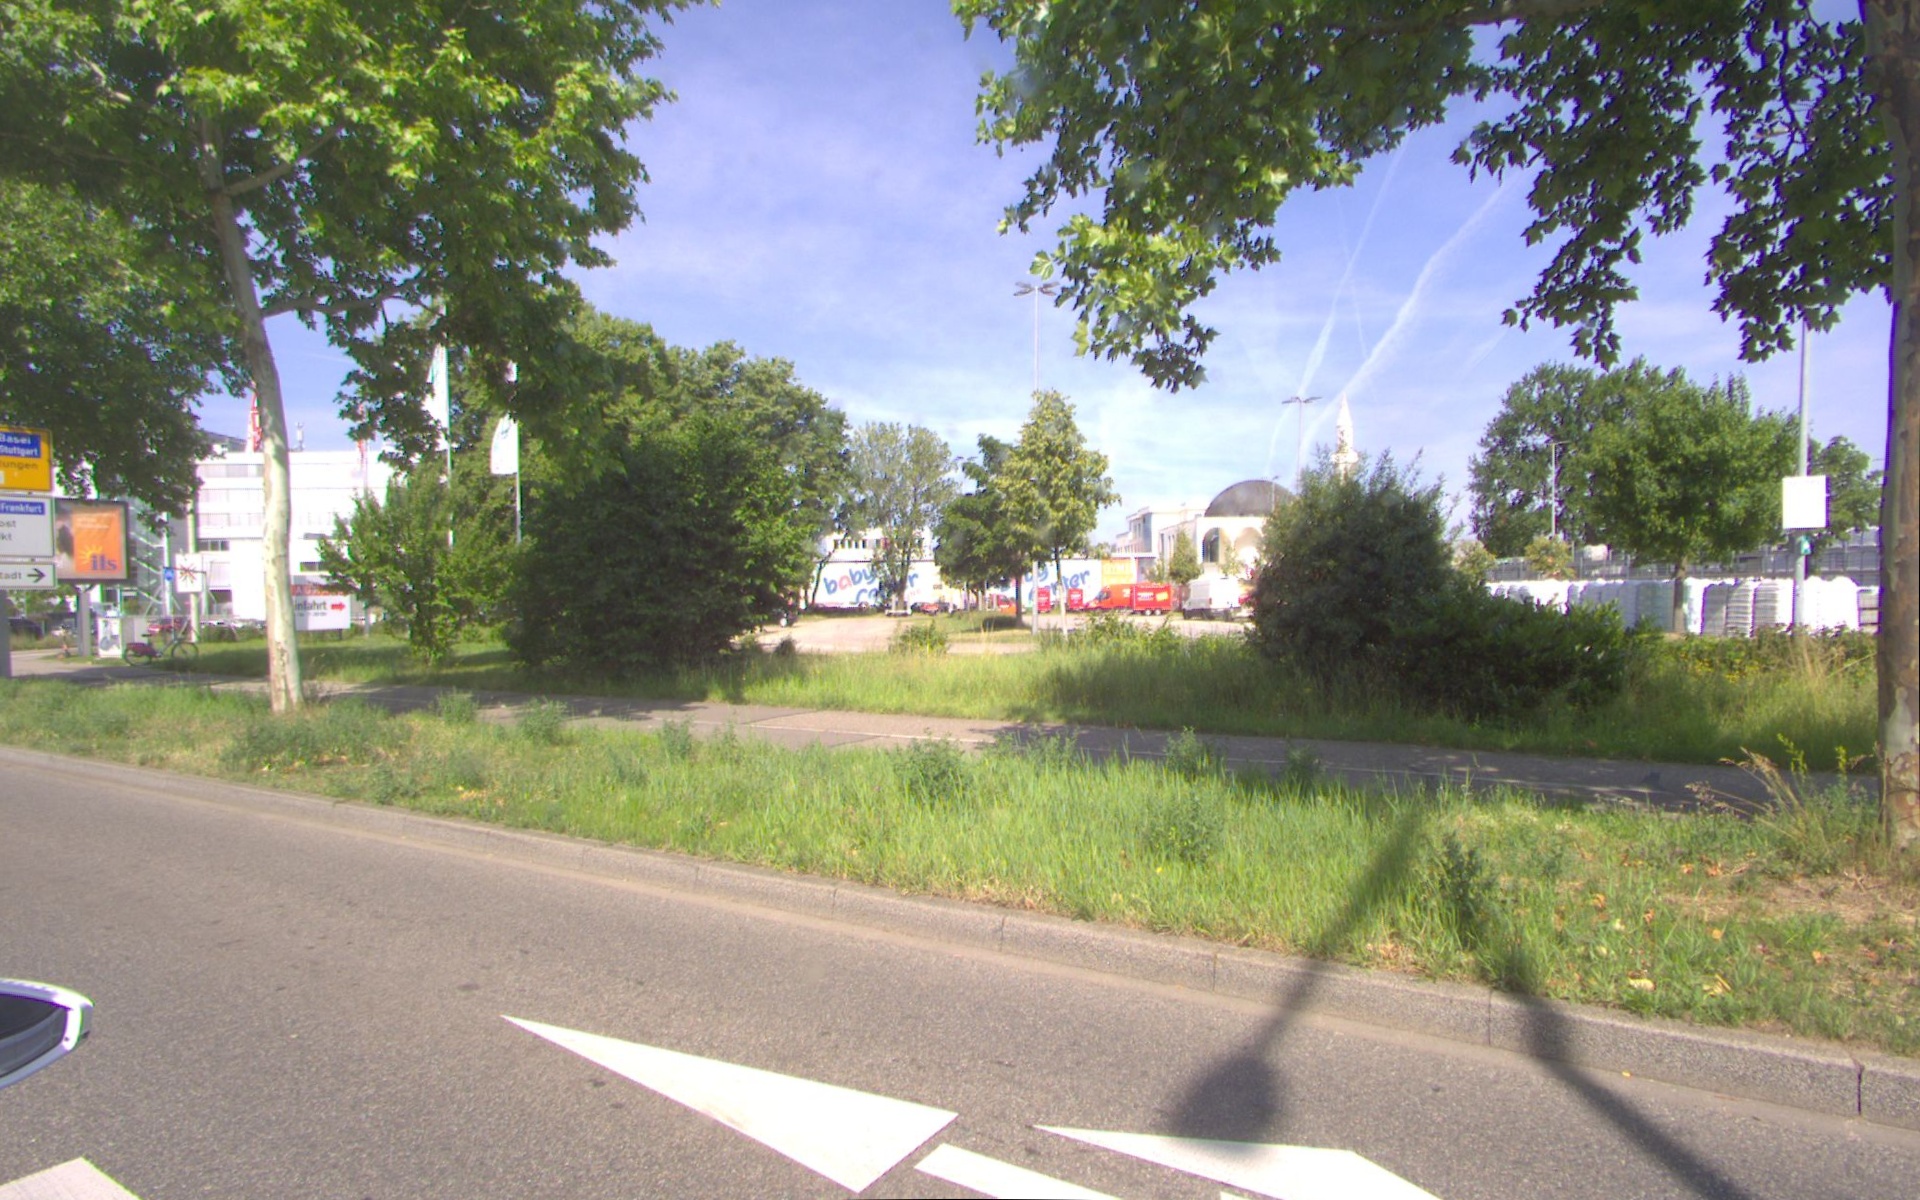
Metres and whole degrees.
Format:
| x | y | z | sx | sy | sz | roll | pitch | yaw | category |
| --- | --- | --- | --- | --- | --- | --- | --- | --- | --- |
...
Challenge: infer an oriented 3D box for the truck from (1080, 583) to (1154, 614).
| x | y | z | sx | sy | sz | roll | pitch | yaw | category |
| --- | --- | --- | --- | --- | --- | --- | --- | --- | --- |
| 13.333 | -0.135 | 85.184 | 5.914 | 2.644 | 2.018 | 0 | 0 | -6 | truck |

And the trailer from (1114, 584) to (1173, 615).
| x | y | z | sx | sy | sz | roll | pitch | yaw | category |
| --- | --- | --- | --- | --- | --- | --- | --- | --- | --- |
| 14.508 | -0.038 | 79.448 | 4.325 | 2.409 | 1.751 | 0 | 1 | 0 | trailer |

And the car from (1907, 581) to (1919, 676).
| x | y | z | sx | sy | sz | roll | pitch | yaw | category |
| --- | --- | --- | --- | --- | --- | --- | --- | --- | --- |
| 16.436 | 0.472 | 15.241 | 1.820 | 1.606 | 3.849 | -1 | 0 | 25 | car |

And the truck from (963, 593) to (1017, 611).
| x | y | z | sx | sy | sz | roll | pitch | yaw | category |
| --- | --- | --- | --- | --- | --- | --- | --- | --- | --- |
| 3.371 | 0.234 | 112.921 | 5.888 | 1.855 | 2.188 | 0 | -2 | -2 | truck |

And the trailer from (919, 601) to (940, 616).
| x | y | z | sx | sy | sz | roll | pitch | yaw | category |
| --- | --- | --- | --- | --- | --- | --- | --- | --- | --- |
| -2.929 | 0.812 | 95.655 | 1.560 | 1.304 | 4.409 | -1 | 0 | -7 | trailer |

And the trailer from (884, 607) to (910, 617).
| x | y | z | sx | sy | sz | roll | pitch | yaw | category |
| --- | --- | --- | --- | --- | --- | --- | --- | --- | --- |
| -5.943 | 1.122 | 94.907 | 2.059 | 0.792 | 4.411 | -1 | 0 | 1 | trailer |

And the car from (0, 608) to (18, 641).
| x | y | z | sx | sy | sz | roll | pitch | yaw | category |
| --- | --- | --- | --- | --- | --- | --- | --- | --- | --- |
| -50.136 | 1.270 | 50.067 | 1.879 | 1.711 | 4.625 | -1 | 0 | -4 | car |

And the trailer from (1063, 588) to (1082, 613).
| x | y | z | sx | sy | sz | roll | pitch | yaw | category |
| --- | --- | --- | --- | --- | --- | --- | --- | --- | --- |
| 10.897 | 0.035 | 97.189 | 1.520 | 2.390 | 4.410 | 0 | 1 | 2 | trailer |

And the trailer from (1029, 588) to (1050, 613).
| x | y | z | sx | sy | sz | roll | pitch | yaw | category |
| --- | --- | --- | --- | --- | --- | --- | --- | --- | --- |
| 7.750 | 0.023 | 97.807 | 1.560 | 2.408 | 4.410 | 0 | 1 | -1 | trailer |

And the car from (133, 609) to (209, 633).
| x | y | z | sx | sy | sz | roll | pitch | yaw | category |
| --- | --- | --- | --- | --- | --- | --- | --- | --- | --- |
| -54.002 | 1.412 | 68.640 | 1.747 | 1.463 | 4.625 | -1 | 0 | -4 | car |

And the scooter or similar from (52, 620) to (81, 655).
| x | y | z | sx | sy | sz | roll | pitch | yaw | category |
| --- | --- | --- | --- | --- | --- | --- | --- | --- | --- |
| -29.899 | 1.234 | 33.507 | 1.107 | 1.141 | 0.423 | 0 | 1 | 32 | scooter or similar |

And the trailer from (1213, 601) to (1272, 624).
| x | y | z | sx | sy | sz | roll | pitch | yaw | category |
| --- | --- | --- | --- | --- | --- | --- | --- | --- | --- |
| 15.933 | 0.665 | 56.628 | 2.029 | 1.137 | 4.031 | -3 | 0 | -2 | trailer |

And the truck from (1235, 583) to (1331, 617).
| x | y | z | sx | sy | sz | roll | pitch | yaw | category |
| --- | --- | --- | --- | --- | --- | --- | --- | --- | --- |
| 21.623 | 0.006 | 67.181 | 5.751 | 2.168 | 2.066 | -1 | 0 | -1 | truck |

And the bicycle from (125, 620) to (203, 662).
| x | y | z | sx | sy | sz | roll | pitch | yaw | category |
| --- | --- | --- | --- | --- | --- | --- | --- | --- | --- |
| -23.806 | 1.215 | 29.991 | 1.771 | 1.123 | 0.499 | -3 | 2 | -40 | bicycle |

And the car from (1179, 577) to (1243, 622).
| x | y | z | sx | sy | sz | roll | pitch | yaw | category |
| --- | --- | --- | --- | --- | --- | --- | --- | --- | --- |
| 15.516 | -0.041 | 62.218 | 1.980 | 2.576 | 5.687 | -3 | 0 | -6 | car |

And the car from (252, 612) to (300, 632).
| x | y | z | sx | sy | sz | roll | pitch | yaw | category |
| --- | --- | --- | --- | --- | --- | --- | --- | --- | --- |
| -56.812 | 1.855 | 83.266 | 1.962 | 1.585 | 3.606 | 0 | -2 | -10 | car |
